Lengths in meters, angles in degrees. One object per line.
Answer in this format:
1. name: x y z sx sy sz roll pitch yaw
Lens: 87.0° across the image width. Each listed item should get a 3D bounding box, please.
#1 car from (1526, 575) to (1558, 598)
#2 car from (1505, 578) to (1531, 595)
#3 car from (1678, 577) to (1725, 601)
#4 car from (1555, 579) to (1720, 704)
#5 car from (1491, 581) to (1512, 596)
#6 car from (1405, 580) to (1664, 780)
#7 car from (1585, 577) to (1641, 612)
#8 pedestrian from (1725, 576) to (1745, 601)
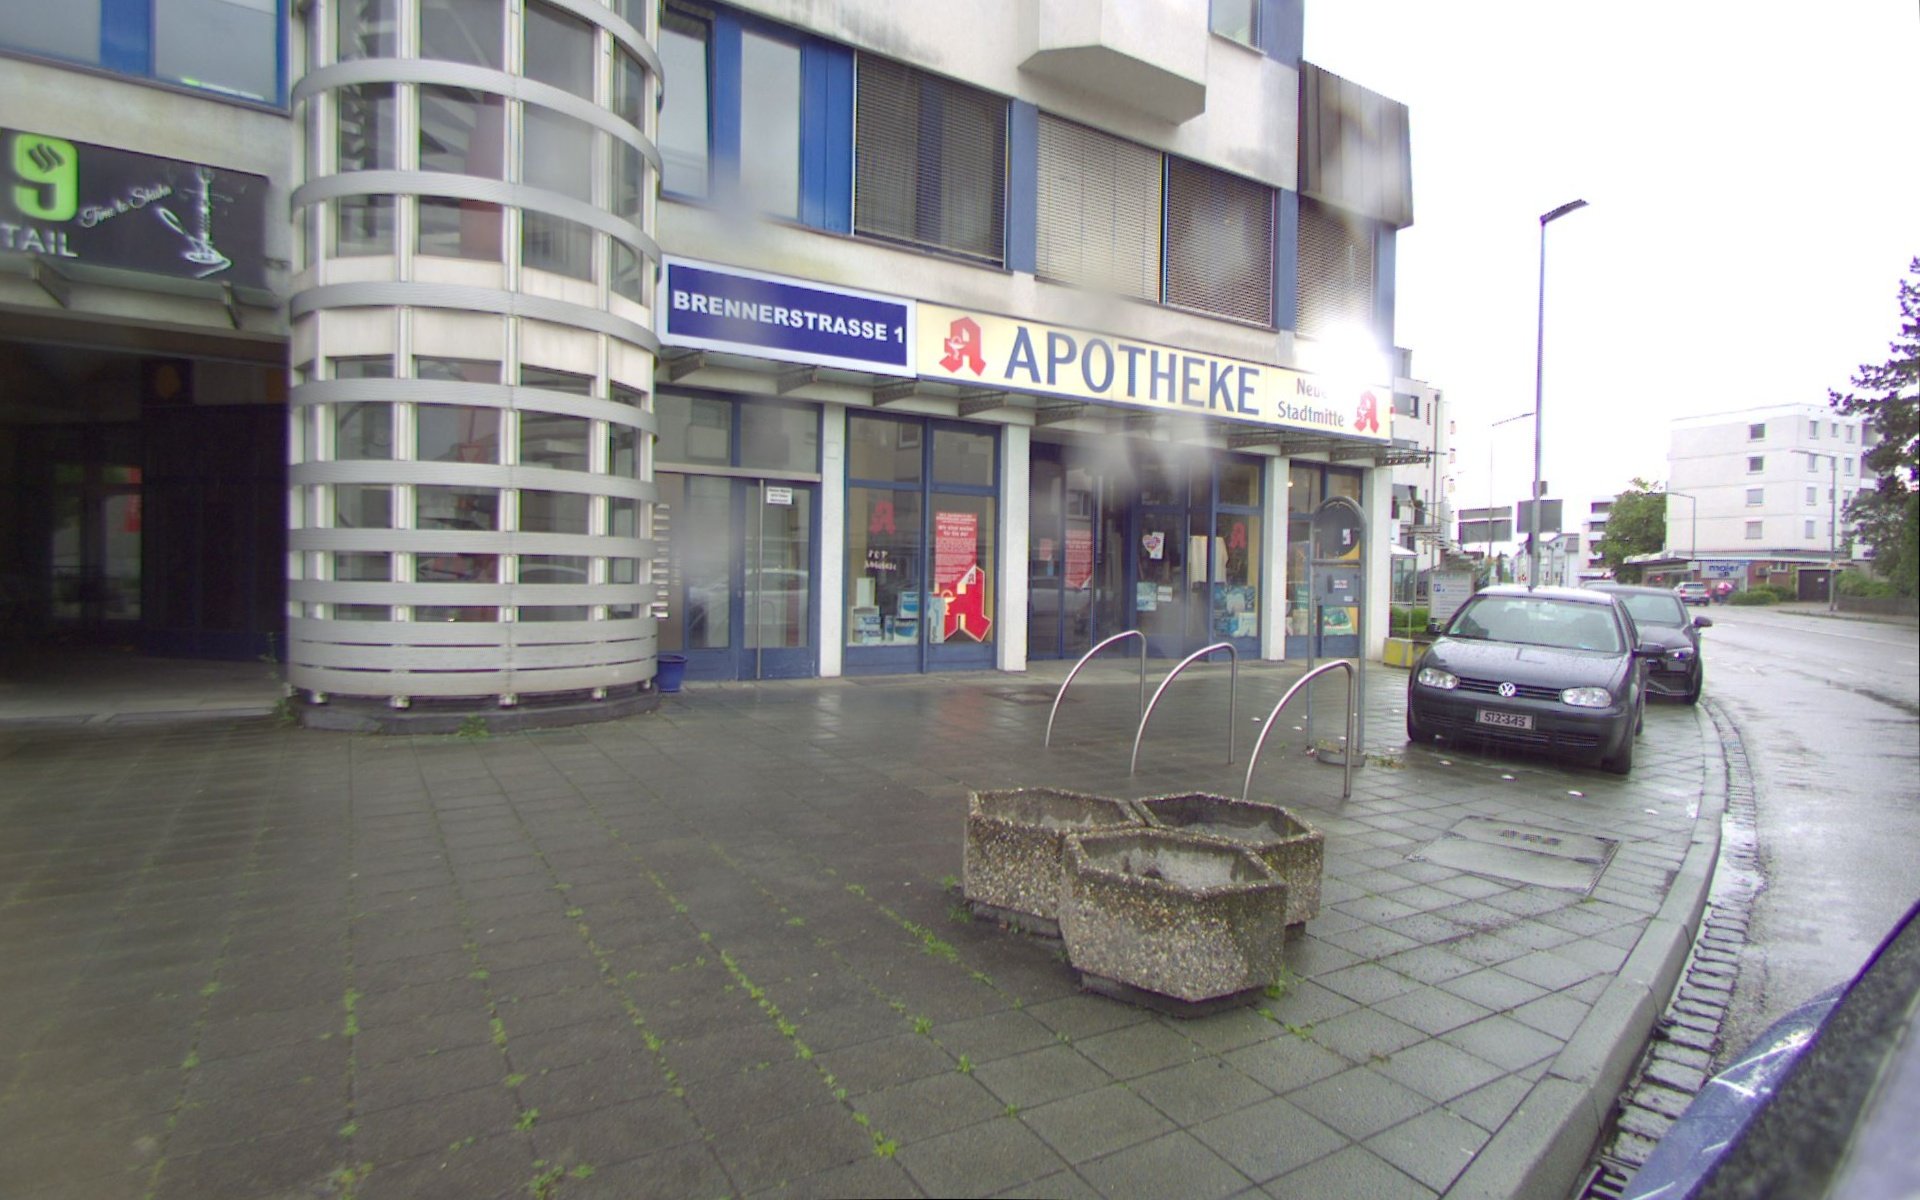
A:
1. car: 41.333 -0.963 71.928 1.718 1.547 4.024 2 1 27
2. car: 50.752 -1.265 92.090 1.783 1.385 3.941 1 3 25
3. car: 47.746 -0.748 65.240 1.855 1.454 3.704 1 2 28
4. car: 9.432 0.445 14.034 1.650 1.442 3.949 2 2 36
5. car: 62.185 -1.329 116.234 1.981 1.635 3.962 -1 1 27
6. car: 5.482 0.553 9.432 1.646 1.388 3.683 5 3 36
7. car: 29.092 -0.284 45.187 1.719 1.462 4.009 0 2 27
8. pedestrian: 54.647 -0.833 71.340 0.845 1.757 0.831 1 2 20
